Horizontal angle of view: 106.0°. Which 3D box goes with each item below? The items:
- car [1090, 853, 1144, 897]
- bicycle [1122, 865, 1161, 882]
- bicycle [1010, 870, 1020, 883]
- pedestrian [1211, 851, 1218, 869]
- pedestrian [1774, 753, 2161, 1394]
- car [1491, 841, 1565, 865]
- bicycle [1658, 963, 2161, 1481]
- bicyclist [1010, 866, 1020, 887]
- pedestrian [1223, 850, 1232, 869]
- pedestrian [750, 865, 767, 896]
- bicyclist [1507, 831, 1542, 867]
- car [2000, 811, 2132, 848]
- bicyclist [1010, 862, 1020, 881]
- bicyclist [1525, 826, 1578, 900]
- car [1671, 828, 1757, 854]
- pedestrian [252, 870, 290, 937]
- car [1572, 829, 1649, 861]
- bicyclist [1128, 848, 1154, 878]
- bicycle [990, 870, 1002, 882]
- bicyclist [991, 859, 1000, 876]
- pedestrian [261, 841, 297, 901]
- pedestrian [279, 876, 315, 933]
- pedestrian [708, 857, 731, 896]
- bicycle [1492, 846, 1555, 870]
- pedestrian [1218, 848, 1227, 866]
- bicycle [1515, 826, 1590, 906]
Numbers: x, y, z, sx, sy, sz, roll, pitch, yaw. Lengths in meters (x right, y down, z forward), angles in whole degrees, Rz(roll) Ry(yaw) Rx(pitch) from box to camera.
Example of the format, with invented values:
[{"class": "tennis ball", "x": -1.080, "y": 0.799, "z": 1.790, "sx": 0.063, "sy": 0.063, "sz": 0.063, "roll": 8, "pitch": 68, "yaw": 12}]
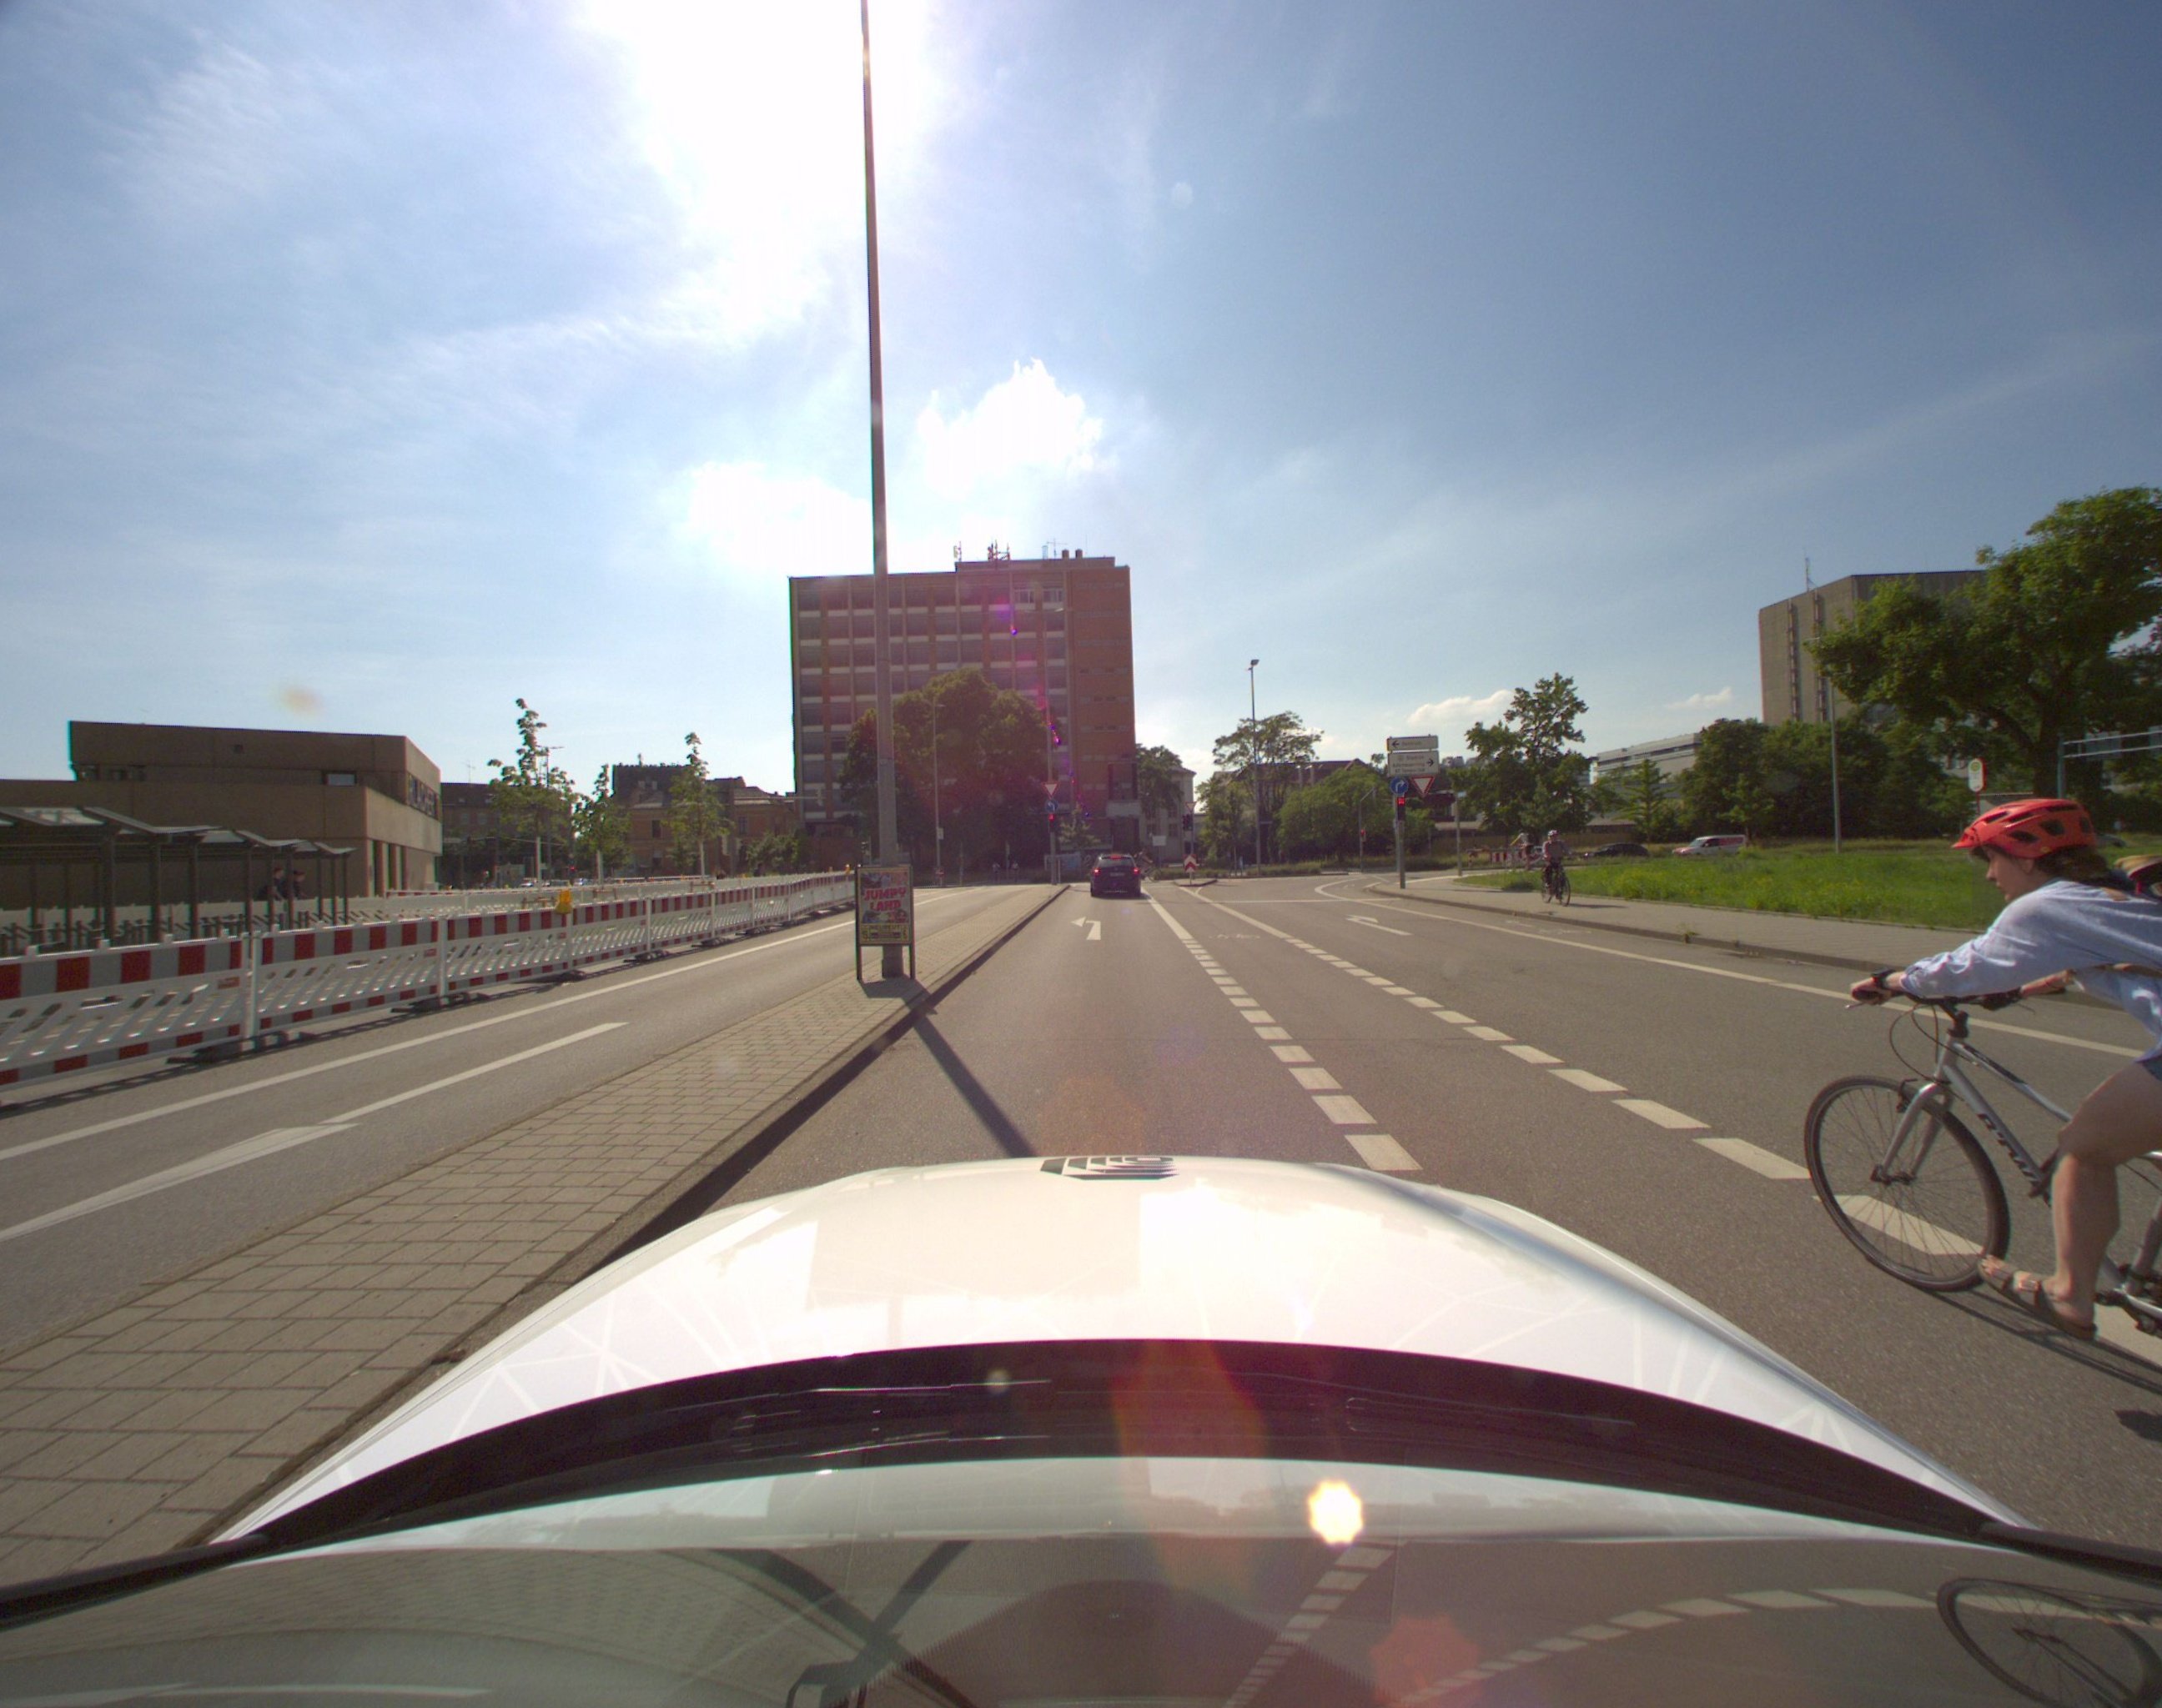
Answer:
[{"class": "car", "x": 1.285, "y": 0.695, "z": 29.047, "sx": 1.773, "sy": 1.443, "sz": 3.820, "roll": 0, "pitch": 0, "yaw": 2}, {"class": "bicycle", "x": 3.084, "y": 0.977, "z": 41.368, "sx": 1.876, "sy": 0.792, "sz": 0.562, "roll": -2, "pitch": 1, "yaw": 14}, {"class": "bicycle", "x": -5.087, "y": 1.731, "z": 62.899, "sx": 0.617, "sy": 0.961, "sz": 1.966, "roll": -5, "pitch": 0, "yaw": -3}, {"class": "pedestrian", "x": 13.702, "y": 0.634, "z": 83.570, "sx": 0.591, "sy": 1.874, "sz": 0.642, "roll": -1, "pitch": -1, "yaw": 25}, {"class": "pedestrian", "x": 2.727, "y": 0.499, "z": 2.361, "sx": 0.580, "sy": 1.466, "sz": 1.015, "roll": -1, "pitch": -1, "yaw": 4}, {"class": "car", "x": 30.660, "y": -0.031, "z": 55.982, "sx": 3.972, "sy": 1.464, "sz": 2.000, "roll": -2, "pitch": -1, "yaw": 1}, {"class": "bicycle", "x": 2.756, "y": 0.938, "z": 2.523, "sx": 0.593, "sy": 0.931, "sz": 2.030, "roll": -1, "pitch": -1, "yaw": 4}, {"class": "bicyclist", "x": -5.087, "y": 1.730, "z": 62.887, "sx": 0.617, "sy": 1.581, "sz": 1.013, "roll": -5, "pitch": 0, "yaw": -3}, {"class": "pedestrian", "x": 14.808, "y": 0.510, "z": 82.382, "sx": 0.634, "sy": 1.874, "sz": 0.797, "roll": -4, "pitch": 0, "yaw": 1}, {"class": "pedestrian", "x": -15.681, "y": 1.282, "z": 39.558, "sx": 0.632, "sy": 1.491, "sz": 0.614, "roll": -2, "pitch": 0, "yaw": -15}, {"class": "bicyclist", "x": 18.399, "y": -0.192, "z": 33.801, "sx": 0.499, "sy": 1.470, "sz": 1.129, "roll": 1, "pitch": -2, "yaw": -41}, {"class": "car", "x": 46.041, "y": -1.129, "z": 38.124, "sx": 3.972, "sy": 1.508, "sz": 1.753, "roll": -3, "pitch": 0, "yaw": 1}, {"class": "bicyclist", "x": -5.117, "y": 1.357, "z": 62.903, "sx": 0.617, "sy": 1.443, "sz": 0.919, "roll": -5, "pitch": 0, "yaw": -3}, {"class": "bicyclist", "x": 10.997, "y": 0.213, "z": 19.063, "sx": 0.675, "sy": 1.655, "sz": 0.919, "roll": -3, "pitch": 0, "yaw": 2}, {"class": "car", "x": 42.781, "y": -0.873, "z": 55.092, "sx": 4.294, "sy": 1.569, "sz": 1.911, "roll": -2, "pitch": 0, "yaw": 1}, {"class": "pedestrian", "x": -23.685, "y": 1.430, "z": 23.810, "sx": 0.436, "sy": 1.915, "sz": 0.609, "roll": -3, "pitch": -1, "yaw": 22}, {"class": "car", "x": 36.357, "y": -0.605, "z": 55.999, "sx": 3.969, "sy": 2.013, "sz": 2.002, "roll": -2, "pitch": 0, "yaw": 3}, {"class": "bicyclist", "x": 3.058, "y": 0.449, "z": 41.373, "sx": 1.157, "sy": 1.474, "sz": 0.566, "roll": -2, "pitch": 0, "yaw": 14}, {"class": "bicycle", "x": -6.957, "y": 1.798, "z": 66.783, "sx": 0.702, "sy": 0.977, "sz": 2.030, "roll": -3, "pitch": 0, "yaw": 0}, {"class": "bicyclist", "x": -6.969, "y": 1.107, "z": 66.684, "sx": 0.537, "sy": 1.417, "sz": 1.030, "roll": -3, "pitch": -1, "yaw": 0}, {"class": "pedestrian", "x": -24.556, "y": 0.512, "z": 24.934, "sx": 0.538, "sy": 1.778, "sz": 0.572, "roll": -3, "pitch": -1, "yaw": 22}, {"class": "pedestrian", "x": -23.814, "y": 1.528, "z": 24.751, "sx": 0.534, "sy": 1.708, "sz": 0.572, "roll": -3, "pitch": -1, "yaw": 22}, {"class": "pedestrian", "x": -16.820, "y": 1.051, "z": 37.892, "sx": 0.737, "sy": 1.752, "sz": 1.105, "roll": -2, "pitch": -3, "yaw": -14}, {"class": "bicycle", "x": 18.373, "y": 0.160, "z": 33.864, "sx": 0.678, "sy": 0.916, "sz": 2.143, "roll": -2, "pitch": 0, "yaw": -41}, {"class": "pedestrian", "x": 14.456, "y": 0.325, "z": 83.367, "sx": 0.787, "sy": 1.874, "sz": 0.642, "roll": -1, "pitch": -1, "yaw": 21}, {"class": "bicycle", "x": 11.002, "y": 0.269, "z": 19.059, "sx": 0.675, "sy": 1.765, "sz": 1.812, "roll": -3, "pitch": 0, "yaw": 2}]
